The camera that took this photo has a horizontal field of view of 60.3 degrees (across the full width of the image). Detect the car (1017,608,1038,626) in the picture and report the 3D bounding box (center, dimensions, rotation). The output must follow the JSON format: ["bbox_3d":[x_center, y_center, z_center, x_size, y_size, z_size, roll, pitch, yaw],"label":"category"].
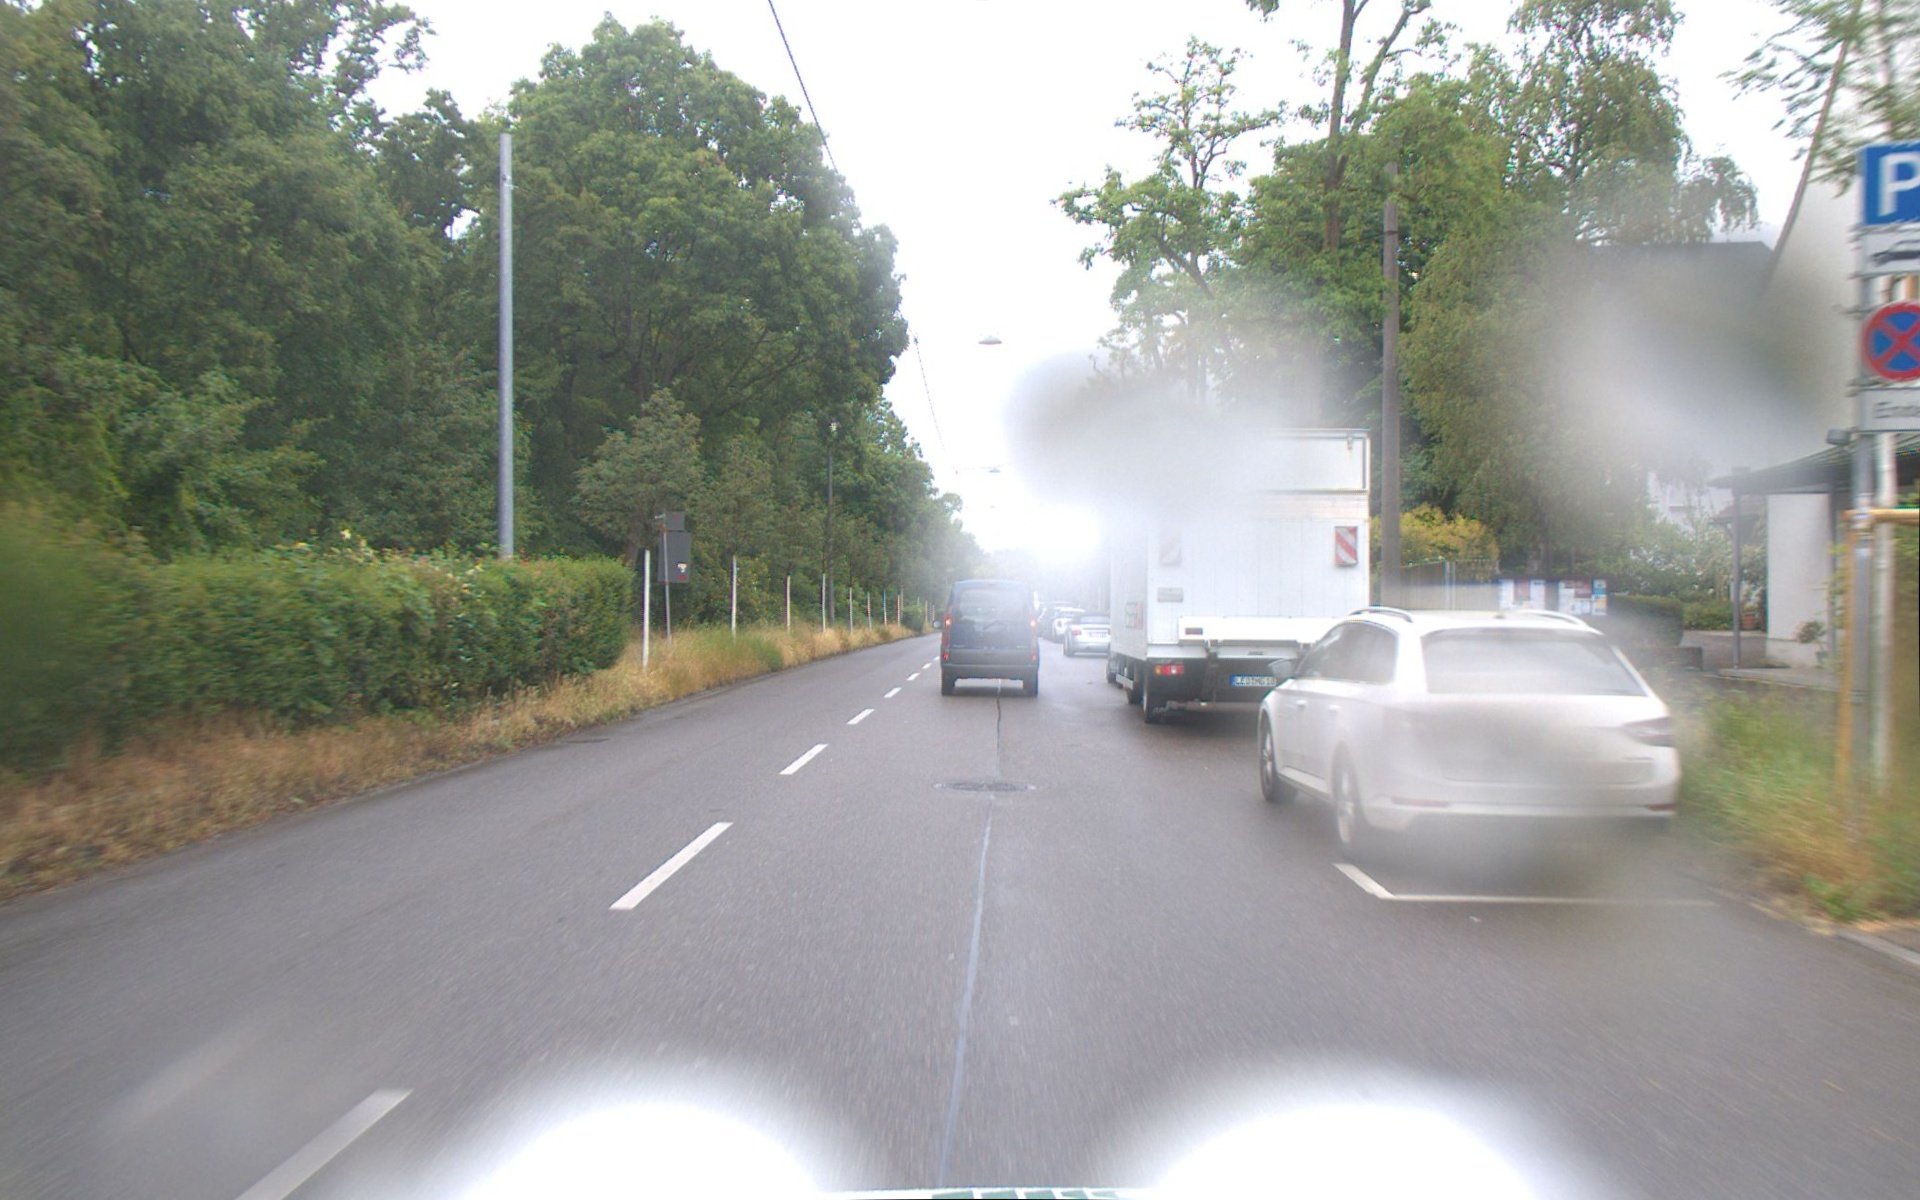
[{"bbox_3d":[5.860,1.478,143.032,1.591,1.489,3.810,1,0,5],"label":"car"}]

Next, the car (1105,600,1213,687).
[{"bbox_3d":[3.657,0.754,30.937,1.607,1.489,4.001,1,0,1],"label":"car"}]

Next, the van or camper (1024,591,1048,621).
[{"bbox_3d":[6.937,0.517,150.790,2.035,2.697,5.347,1,0,1],"label":"van or camper"}]

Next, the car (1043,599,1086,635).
[{"bbox_3d":[4.506,0.724,71.737,1.702,1.490,3.725,1,0,2],"label":"car"}]

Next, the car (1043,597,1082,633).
[{"bbox_3d":[4.724,0.674,76.652,1.644,1.583,4.076,1,0,2],"label":"car"}]

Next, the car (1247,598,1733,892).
[{"bbox_3d":[3.162,0.752,10.909,1.759,1.500,4.548,1,0,0],"label":"car"}]

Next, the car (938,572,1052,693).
[{"bbox_3d":[0.522,0.503,27.668,1.731,1.862,3.541,1,0,-1],"label":"car"}]

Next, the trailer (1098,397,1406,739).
[{"bbox_3d":[3.431,-0.348,21.625,2.677,3.569,8.248,1,0,1],"label":"trailer"}]

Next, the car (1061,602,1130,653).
[{"bbox_3d":[4.038,0.801,49.861,1.745,1.420,4.000,1,0,0],"label":"car"}]
